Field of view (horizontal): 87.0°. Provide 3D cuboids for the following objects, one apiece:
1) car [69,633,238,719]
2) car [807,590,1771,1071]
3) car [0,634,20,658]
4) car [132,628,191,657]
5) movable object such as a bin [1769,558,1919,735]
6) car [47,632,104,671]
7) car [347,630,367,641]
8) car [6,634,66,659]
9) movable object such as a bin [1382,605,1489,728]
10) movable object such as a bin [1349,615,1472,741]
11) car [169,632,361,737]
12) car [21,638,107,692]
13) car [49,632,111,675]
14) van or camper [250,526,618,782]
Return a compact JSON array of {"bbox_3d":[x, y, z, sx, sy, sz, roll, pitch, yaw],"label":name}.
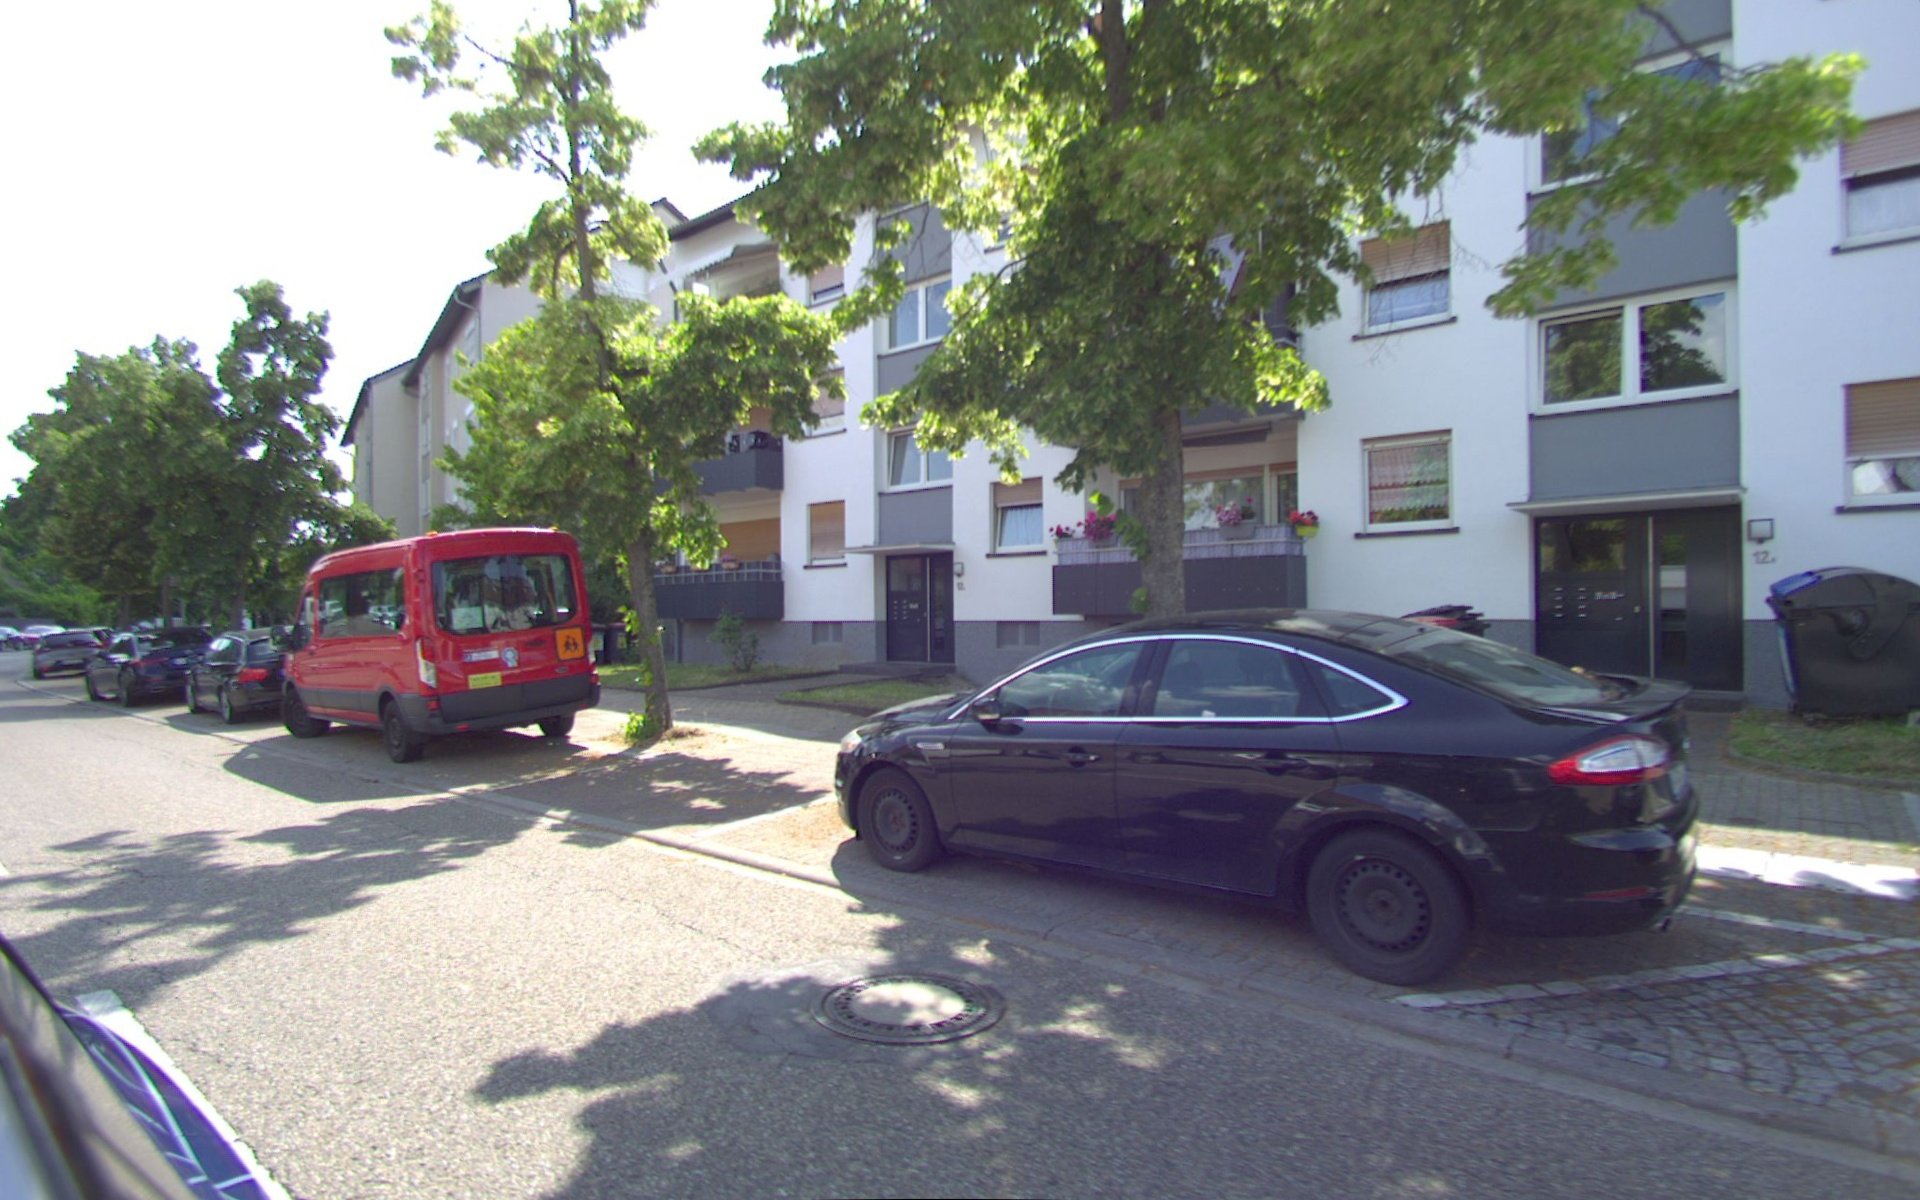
[{"bbox_3d":[-16.620,1.488,20.776,4.626,1.488,1.714,-2,1,39],"label":"car"},{"bbox_3d":[1.382,0.808,5.474,4.594,1.505,1.791,-2,1,41],"label":"car"},{"bbox_3d":[-57.879,2.762,60.279,1.814,1.429,3.901,0,-2,-27],"label":"car"},{"bbox_3d":[-49.548,2.637,62.852,1.793,1.737,3.694,0,-2,-20],"label":"car"},{"bbox_3d":[8.039,0.388,8.912,1.264,1.394,1.258,-9,-3,40],"label":"movable object such as a bin"},{"bbox_3d":[-38.791,2.236,44.338,1.733,1.499,3.686,-5,2,-42],"label":"car"},{"bbox_3d":[-80.587,4.695,135.339,1.756,1.453,3.979,0,-2,-23],"label":"car"},{"bbox_3d":[-60.541,3.028,66.382,1.756,1.497,4.295,4,-4,-26],"label":"car"},{"bbox_3d":[5.040,0.693,10.724,0.805,1.223,0.742,-4,-3,40],"label":"movable object such as a bin"},{"bbox_3d":[4.474,0.754,10.042,0.824,1.158,0.944,-4,-3,40],"label":"movable object such as a bin"},{"bbox_3d":[-11.852,1.321,17.130,4.463,1.447,1.670,-2,1,43],"label":"car"},{"bbox_3d":[-28.488,1.997,32.134,4.002,1.429,1.735,-2,2,45],"label":"car"},{"bbox_3d":[-35.290,2.123,40.619,1.733,1.499,3.687,-5,1,-41],"label":"car"},{"bbox_3d":[-7.018,0.583,13.046,6.222,2.568,2.125,-2,1,43],"label":"van or camper"}]
